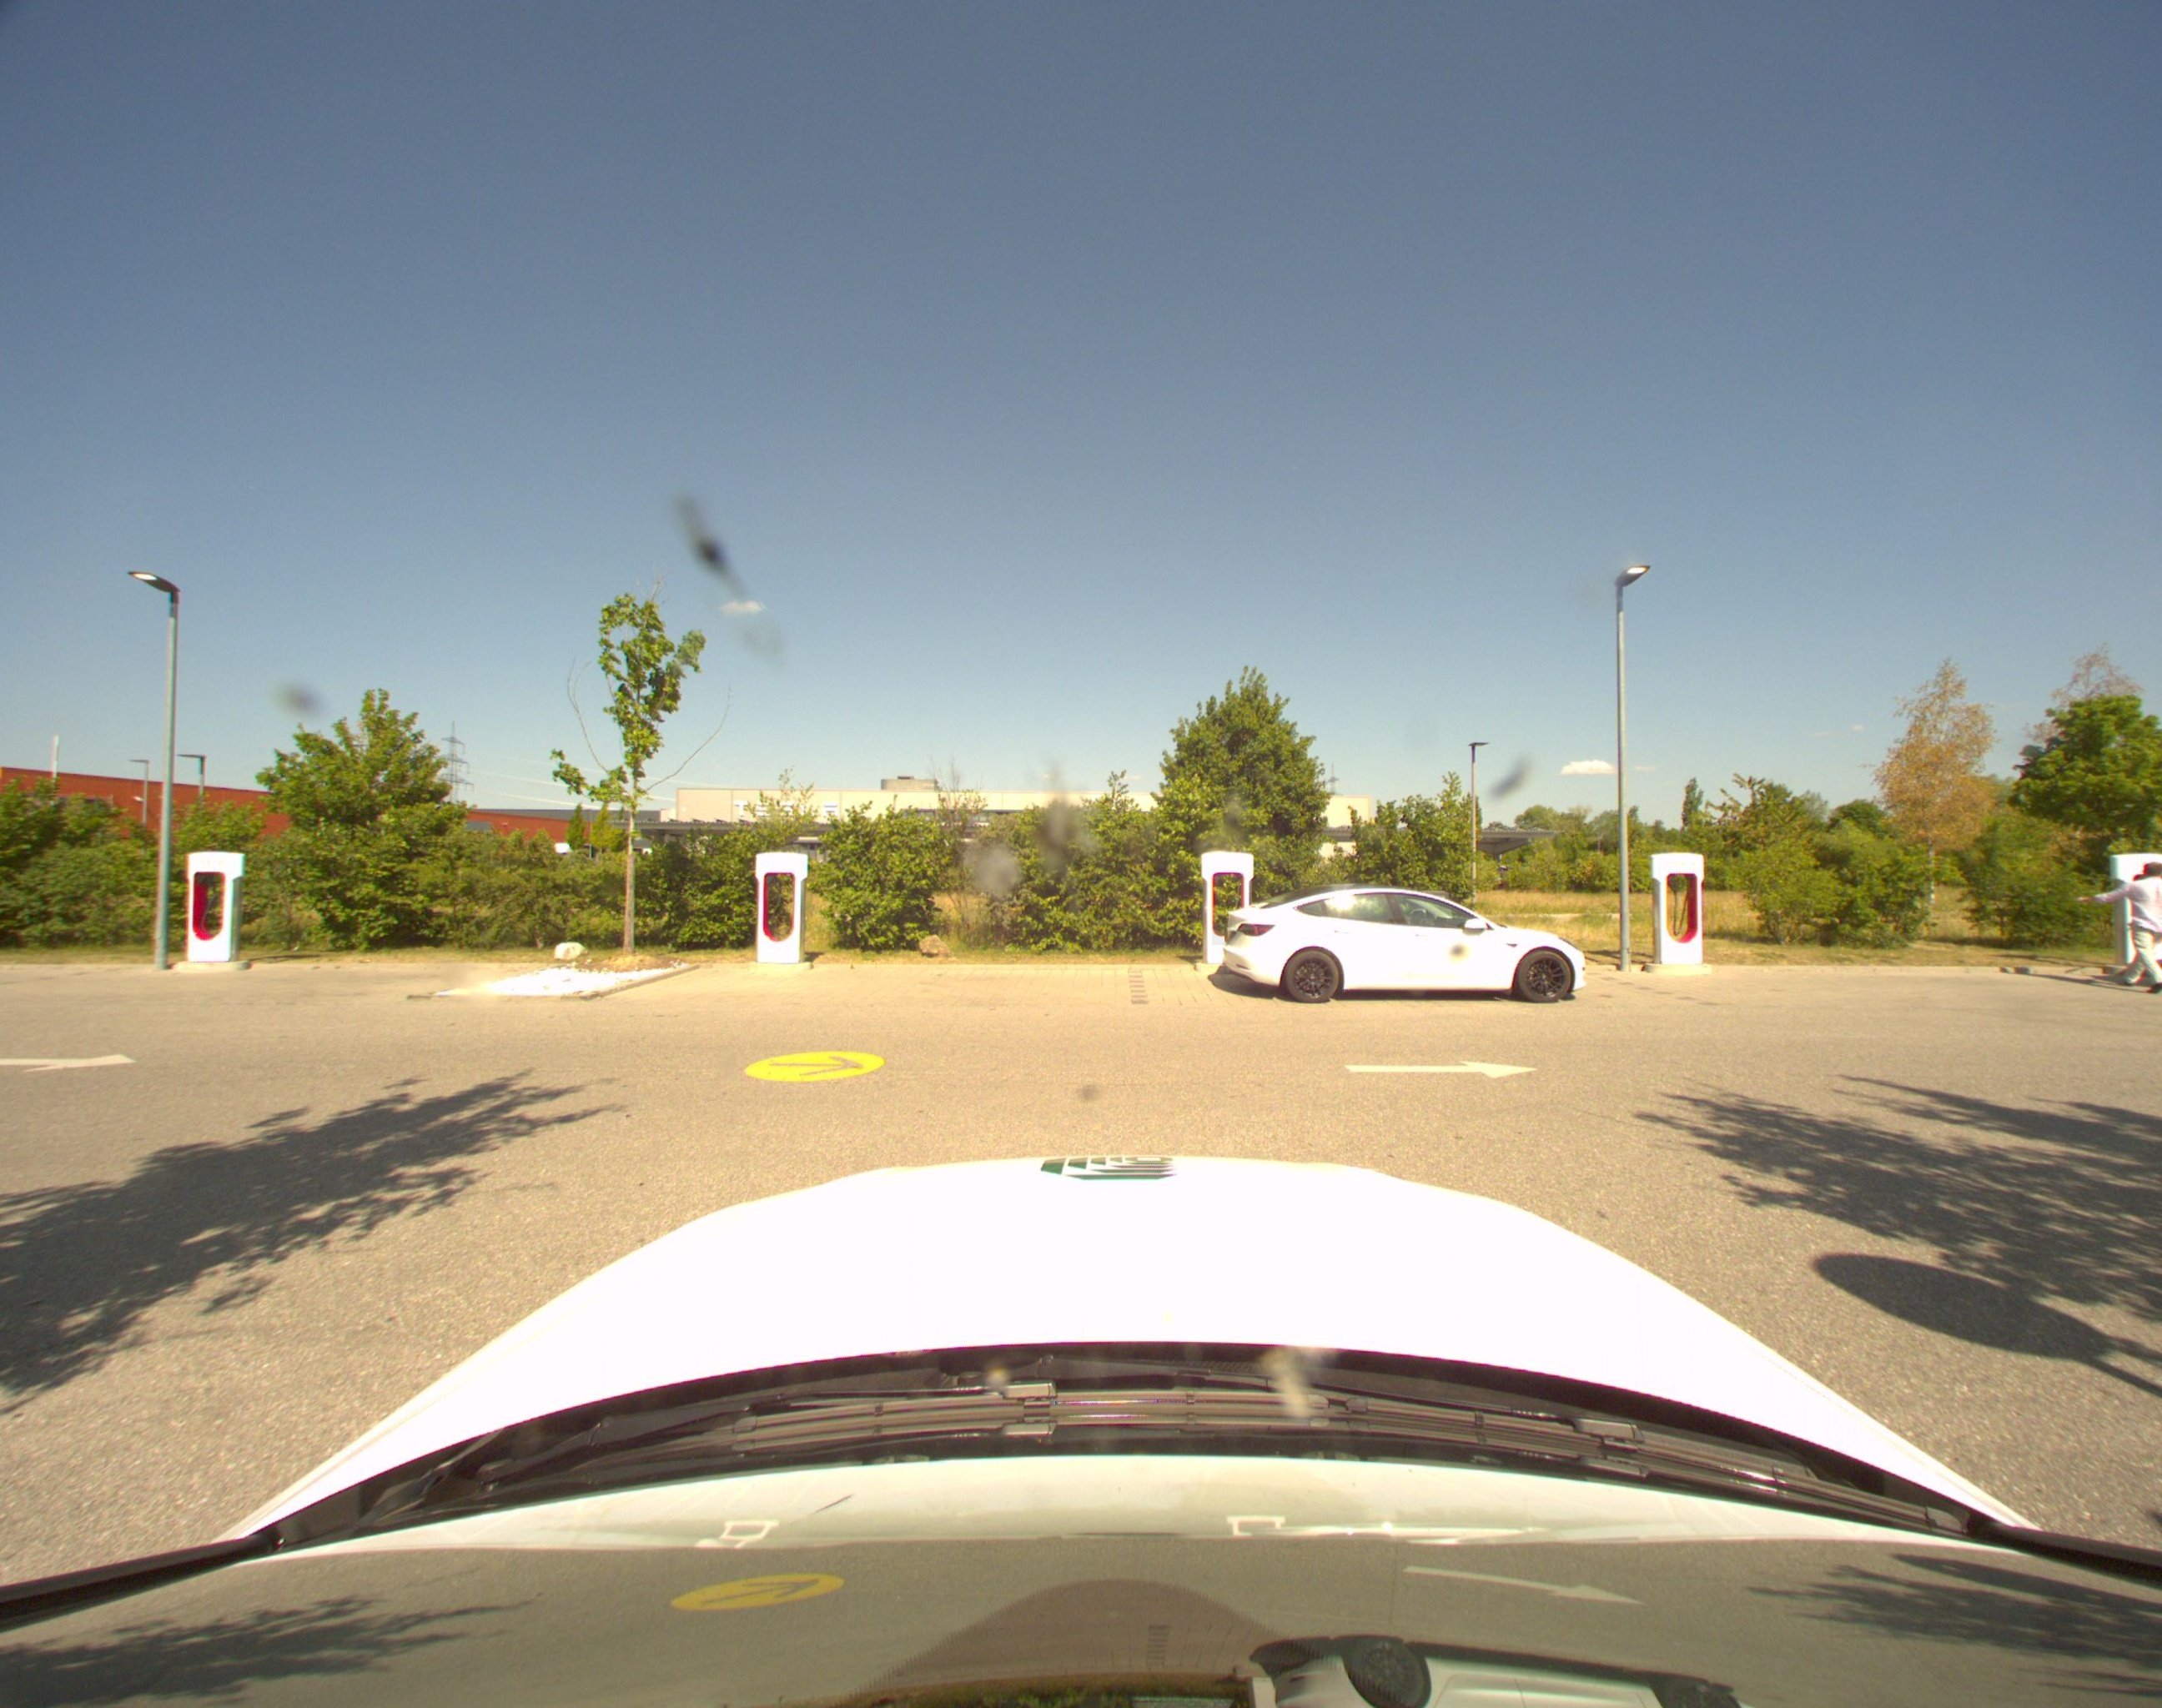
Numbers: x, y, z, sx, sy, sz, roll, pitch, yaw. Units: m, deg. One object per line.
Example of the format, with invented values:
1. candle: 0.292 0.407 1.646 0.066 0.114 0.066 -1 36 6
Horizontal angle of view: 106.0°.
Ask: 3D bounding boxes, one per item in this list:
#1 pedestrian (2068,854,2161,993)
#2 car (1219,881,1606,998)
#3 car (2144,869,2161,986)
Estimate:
1. pedestrian: 14.458 0.910 11.117 0.733 1.800 1.034 0 0 -3
2. car: 4.179 1.065 10.819 4.418 1.377 1.822 0 -1 1
3. car: 17.132 0.998 10.512 4.461 1.600 1.869 0 -1 -1
